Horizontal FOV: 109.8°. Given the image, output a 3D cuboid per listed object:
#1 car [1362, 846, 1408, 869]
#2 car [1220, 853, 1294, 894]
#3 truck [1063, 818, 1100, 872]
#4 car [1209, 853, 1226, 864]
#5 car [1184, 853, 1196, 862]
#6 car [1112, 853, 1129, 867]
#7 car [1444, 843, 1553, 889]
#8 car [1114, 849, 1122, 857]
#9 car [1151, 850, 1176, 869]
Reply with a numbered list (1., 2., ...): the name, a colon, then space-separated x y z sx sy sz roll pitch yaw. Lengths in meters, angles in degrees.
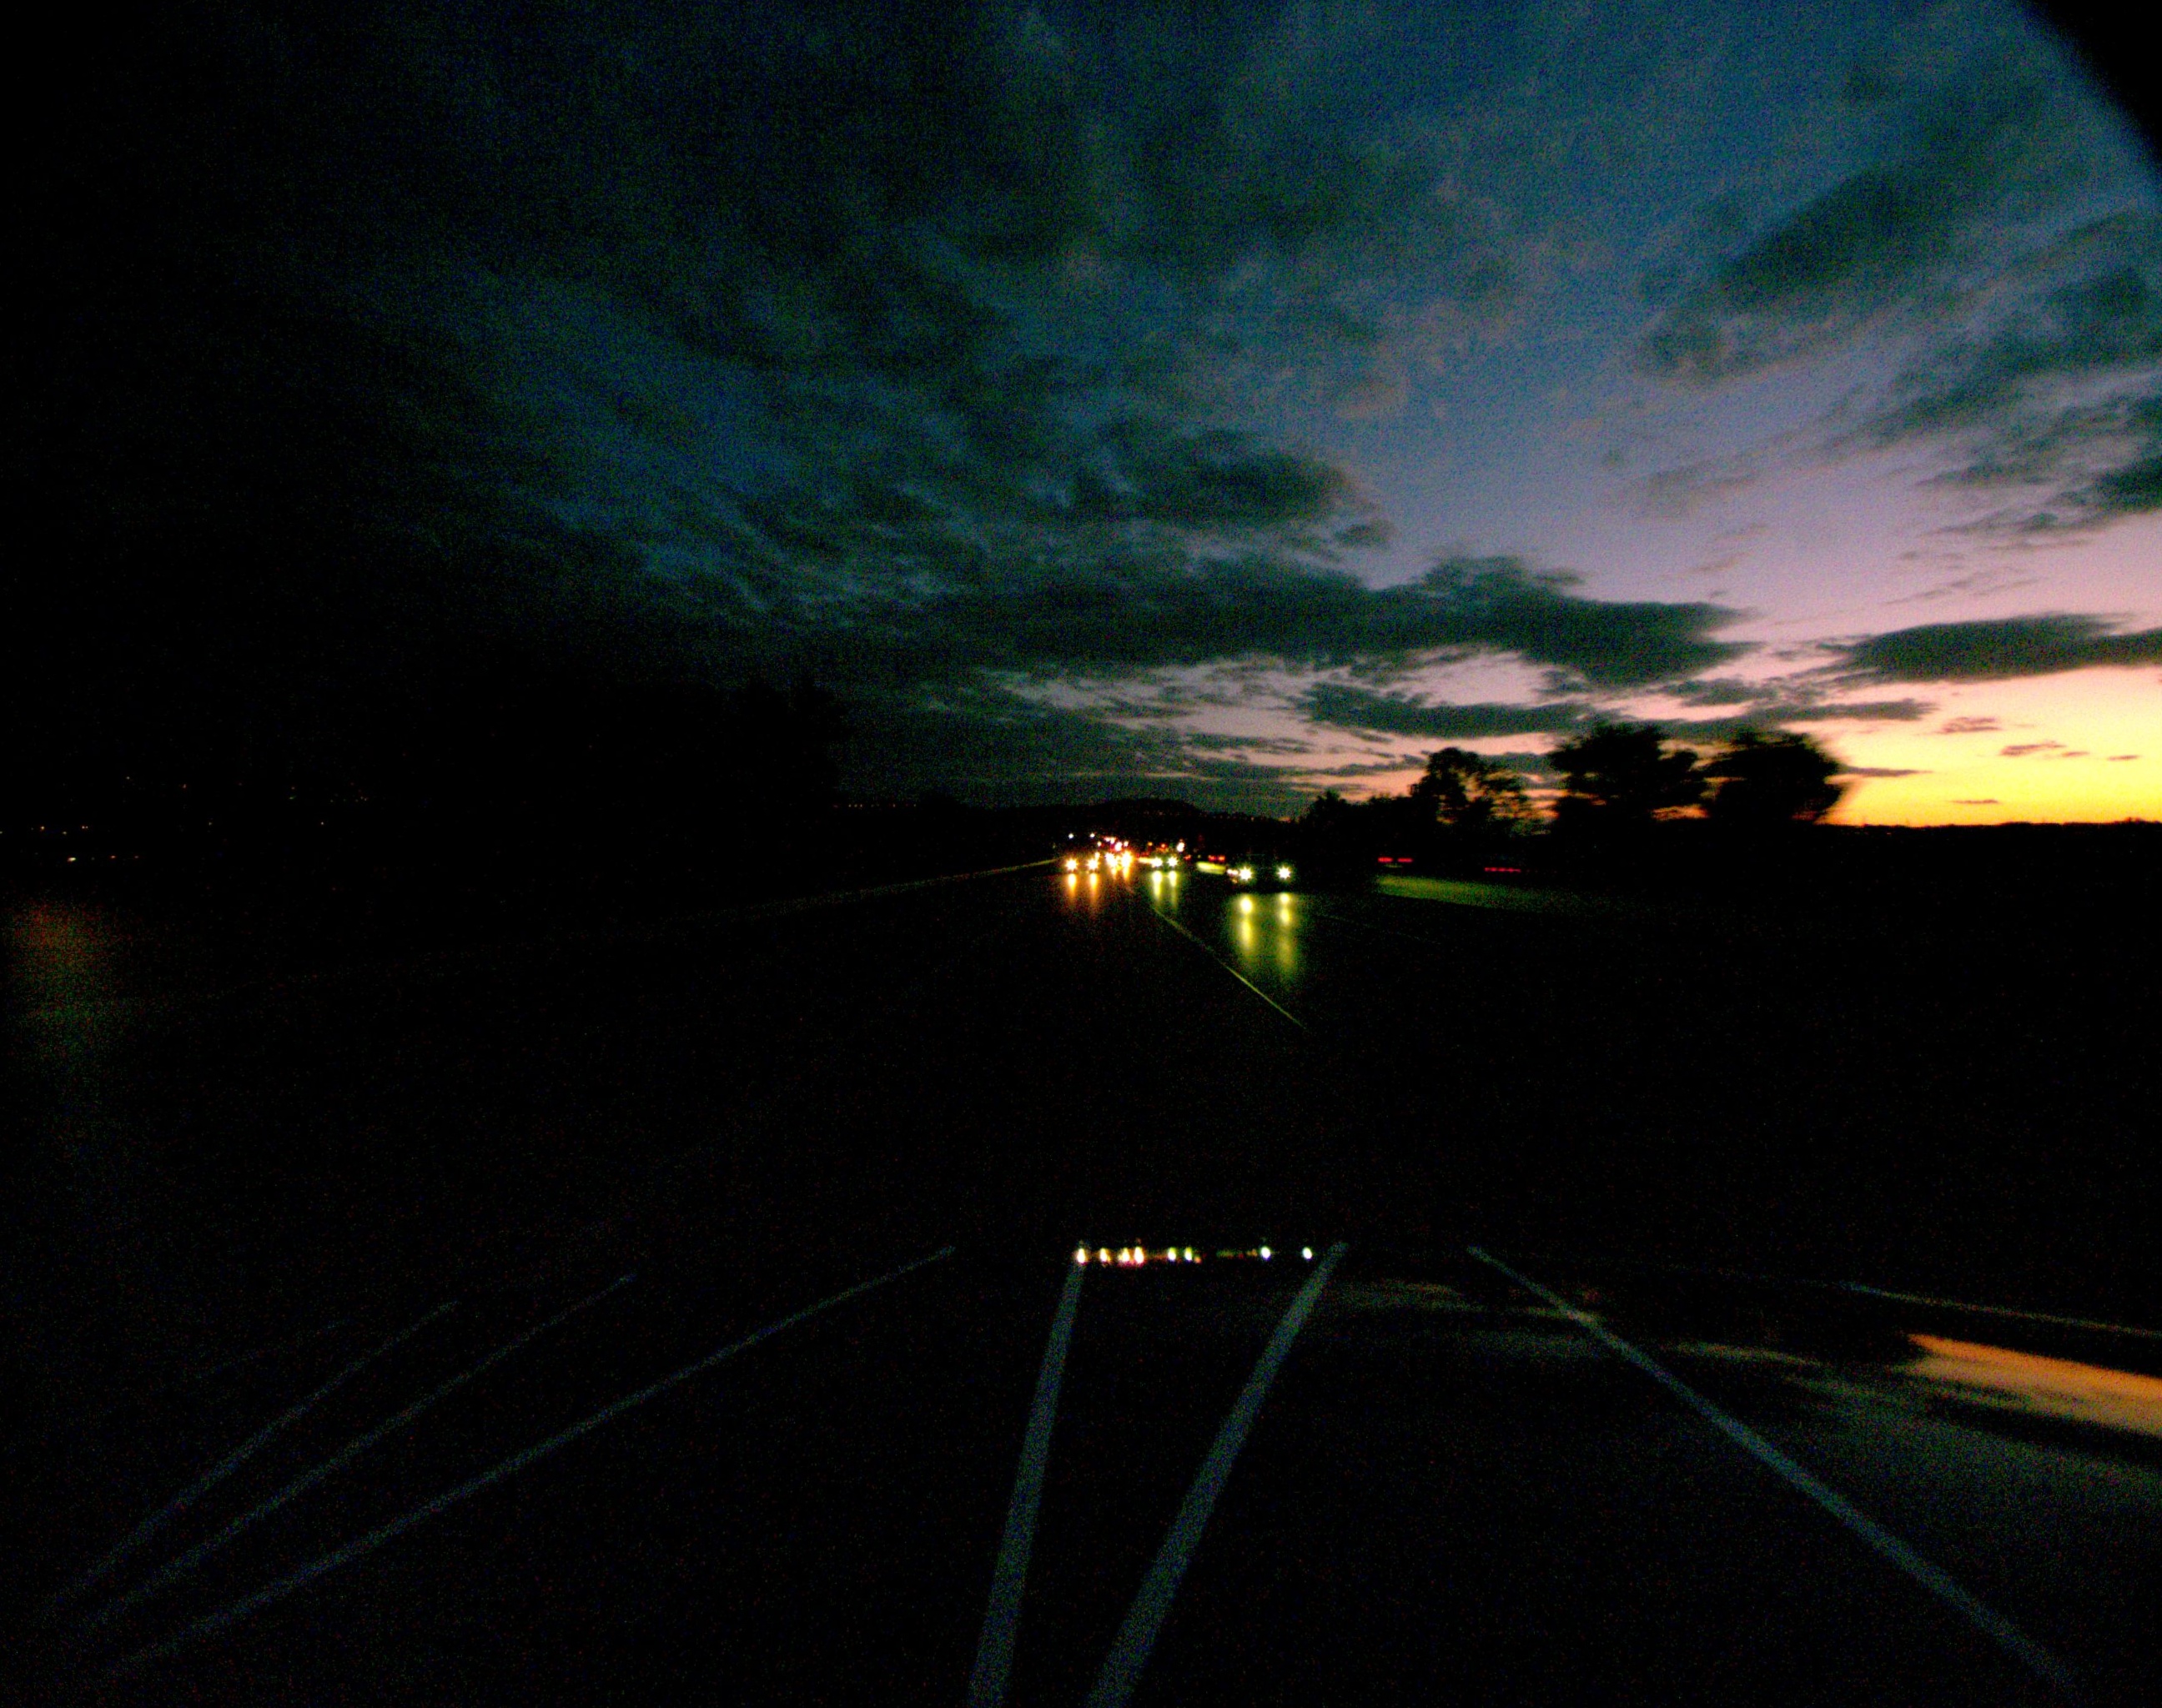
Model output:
1. car: 23.386 0.227 58.642 1.664 1.634 4.793 -2 1 1
2. car: 7.227 0.751 31.799 1.819 1.429 5.394 -2 1 0
3. truck: 0.115 -0.777 71.957 3.012 4.570 12.577 -2 0 0
4. car: 20.803 0.669 115.759 1.864 1.445 4.274 -2 1 0
5. car: 21.177 0.726 147.229 1.737 1.537 3.999 -2 1 0
6. car: 4.741 0.692 90.651 1.802 1.531 4.158 -2 1 0
7. car: 16.043 0.397 29.485 1.703 1.608 4.625 -2 1 1
8. car: 9.940 -0.250 202.364 1.862 1.826 3.999 -2 1 0
9. car: 7.801 0.466 72.012 1.819 1.638 4.856 -2 1 0
